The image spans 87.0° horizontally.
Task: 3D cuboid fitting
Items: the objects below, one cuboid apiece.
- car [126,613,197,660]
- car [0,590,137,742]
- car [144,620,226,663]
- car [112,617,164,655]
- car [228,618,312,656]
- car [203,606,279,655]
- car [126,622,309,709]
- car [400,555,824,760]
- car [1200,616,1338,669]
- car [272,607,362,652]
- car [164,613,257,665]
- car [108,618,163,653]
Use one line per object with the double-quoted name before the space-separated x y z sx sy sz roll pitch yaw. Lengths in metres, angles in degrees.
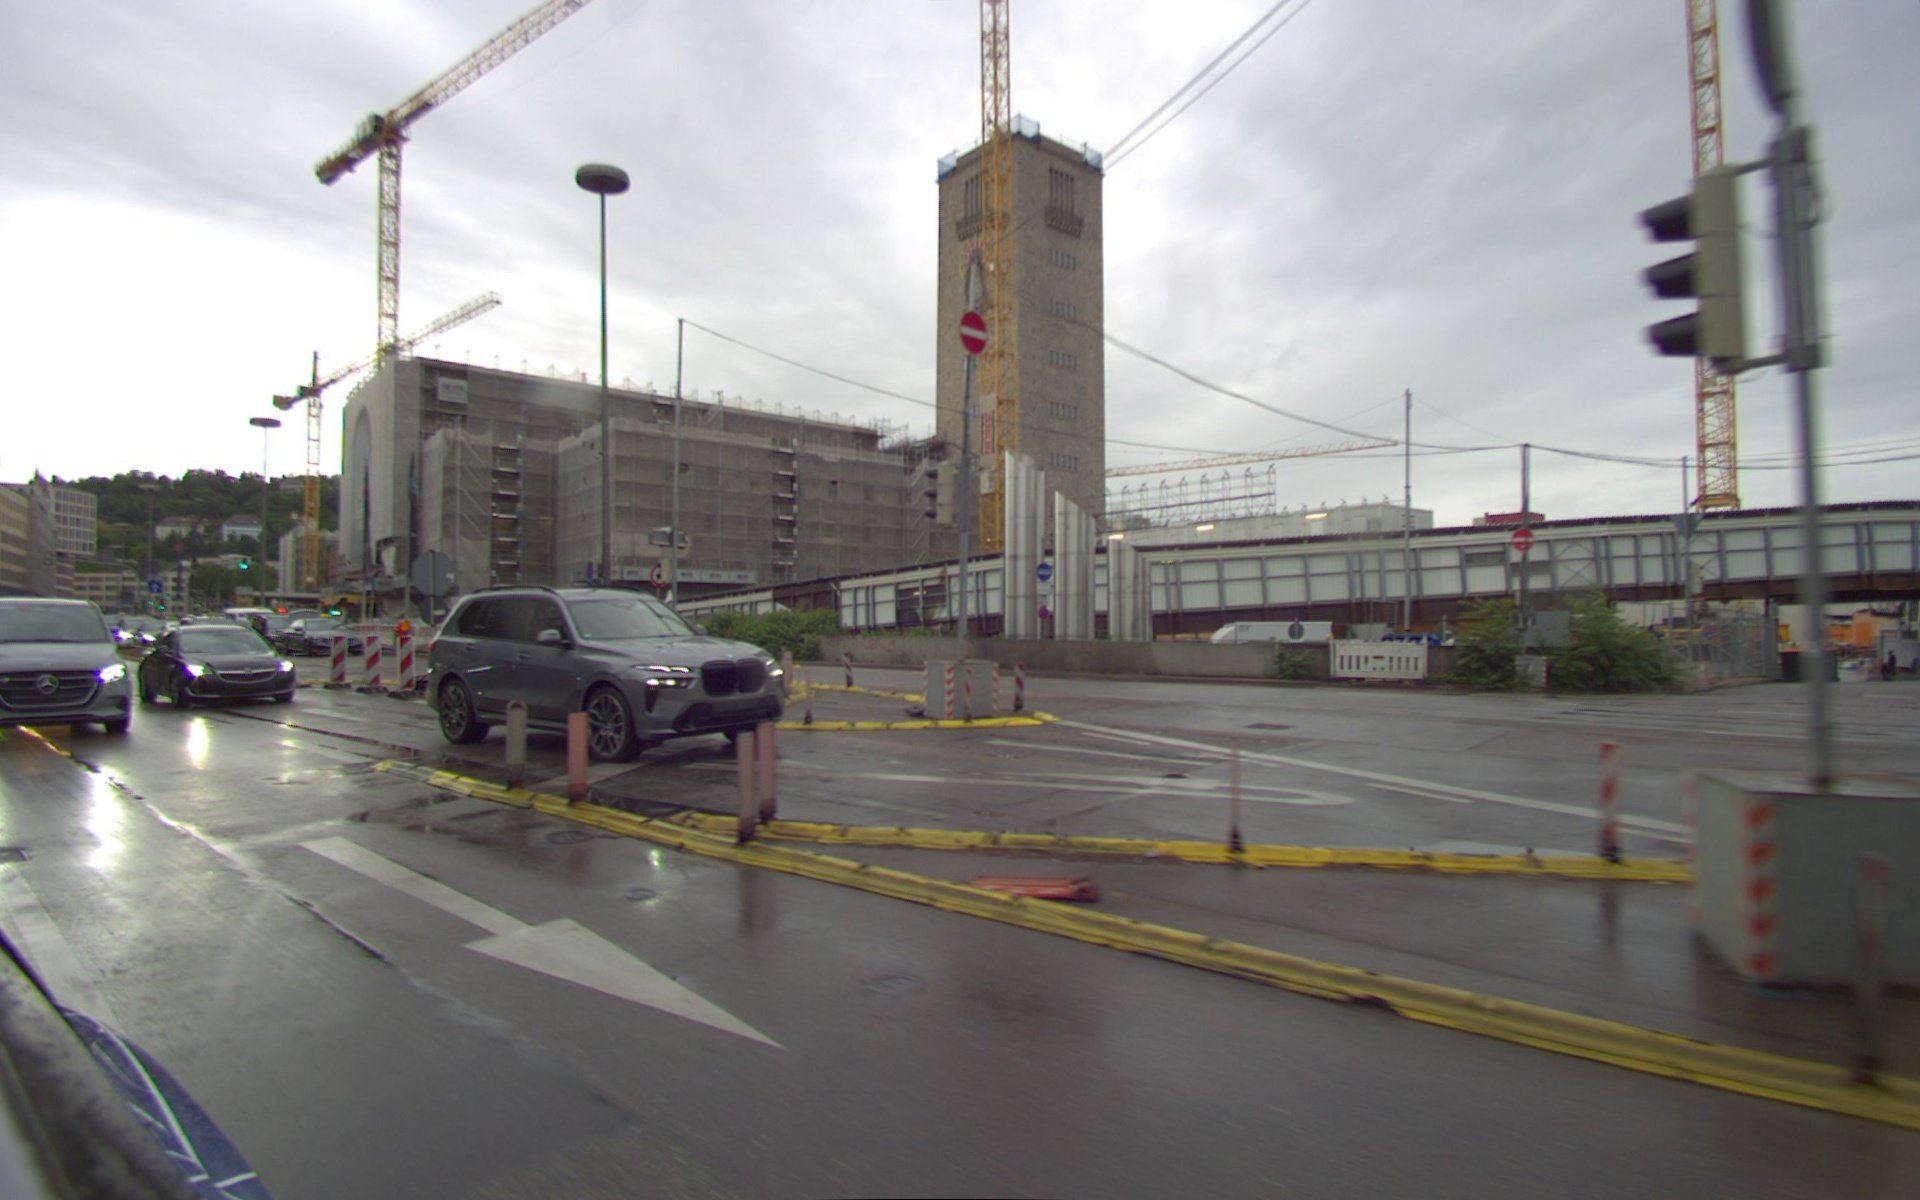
"car" -38.222 1.717 48.401 4.715 2.130 1.971 -1 -3 44
"car" -13.514 0.876 14.511 5.357 1.870 1.972 -2 -1 43
"car" -32.154 1.706 41.928 4.902 1.667 1.971 -2 -4 44
"car" -46.536 2.011 57.259 1.970 2.029 4.004 2 -2 -43
"car" -30.086 1.605 44.114 4.000 1.585 2.143 -1 -3 43
"car" -34.565 1.467 48.593 4.997 2.224 1.976 -1 -3 43
"car" -14.368 1.216 19.463 4.917 1.475 1.788 -1 -5 42
"car" -4.146 0.561 11.674 5.065 1.877 2.189 -1 -1 37
"car" 12.279 1.677 40.509 4.963 2.029 1.996 0 -2 6
"car" -25.298 1.167 39.734 4.573 1.665 1.808 -1 -3 42
"car" -28.062 1.413 37.840 4.293 1.828 1.972 -1 -2 43
"car" -42.873 1.804 52.611 1.969 1.730 4.761 2 -2 -42
